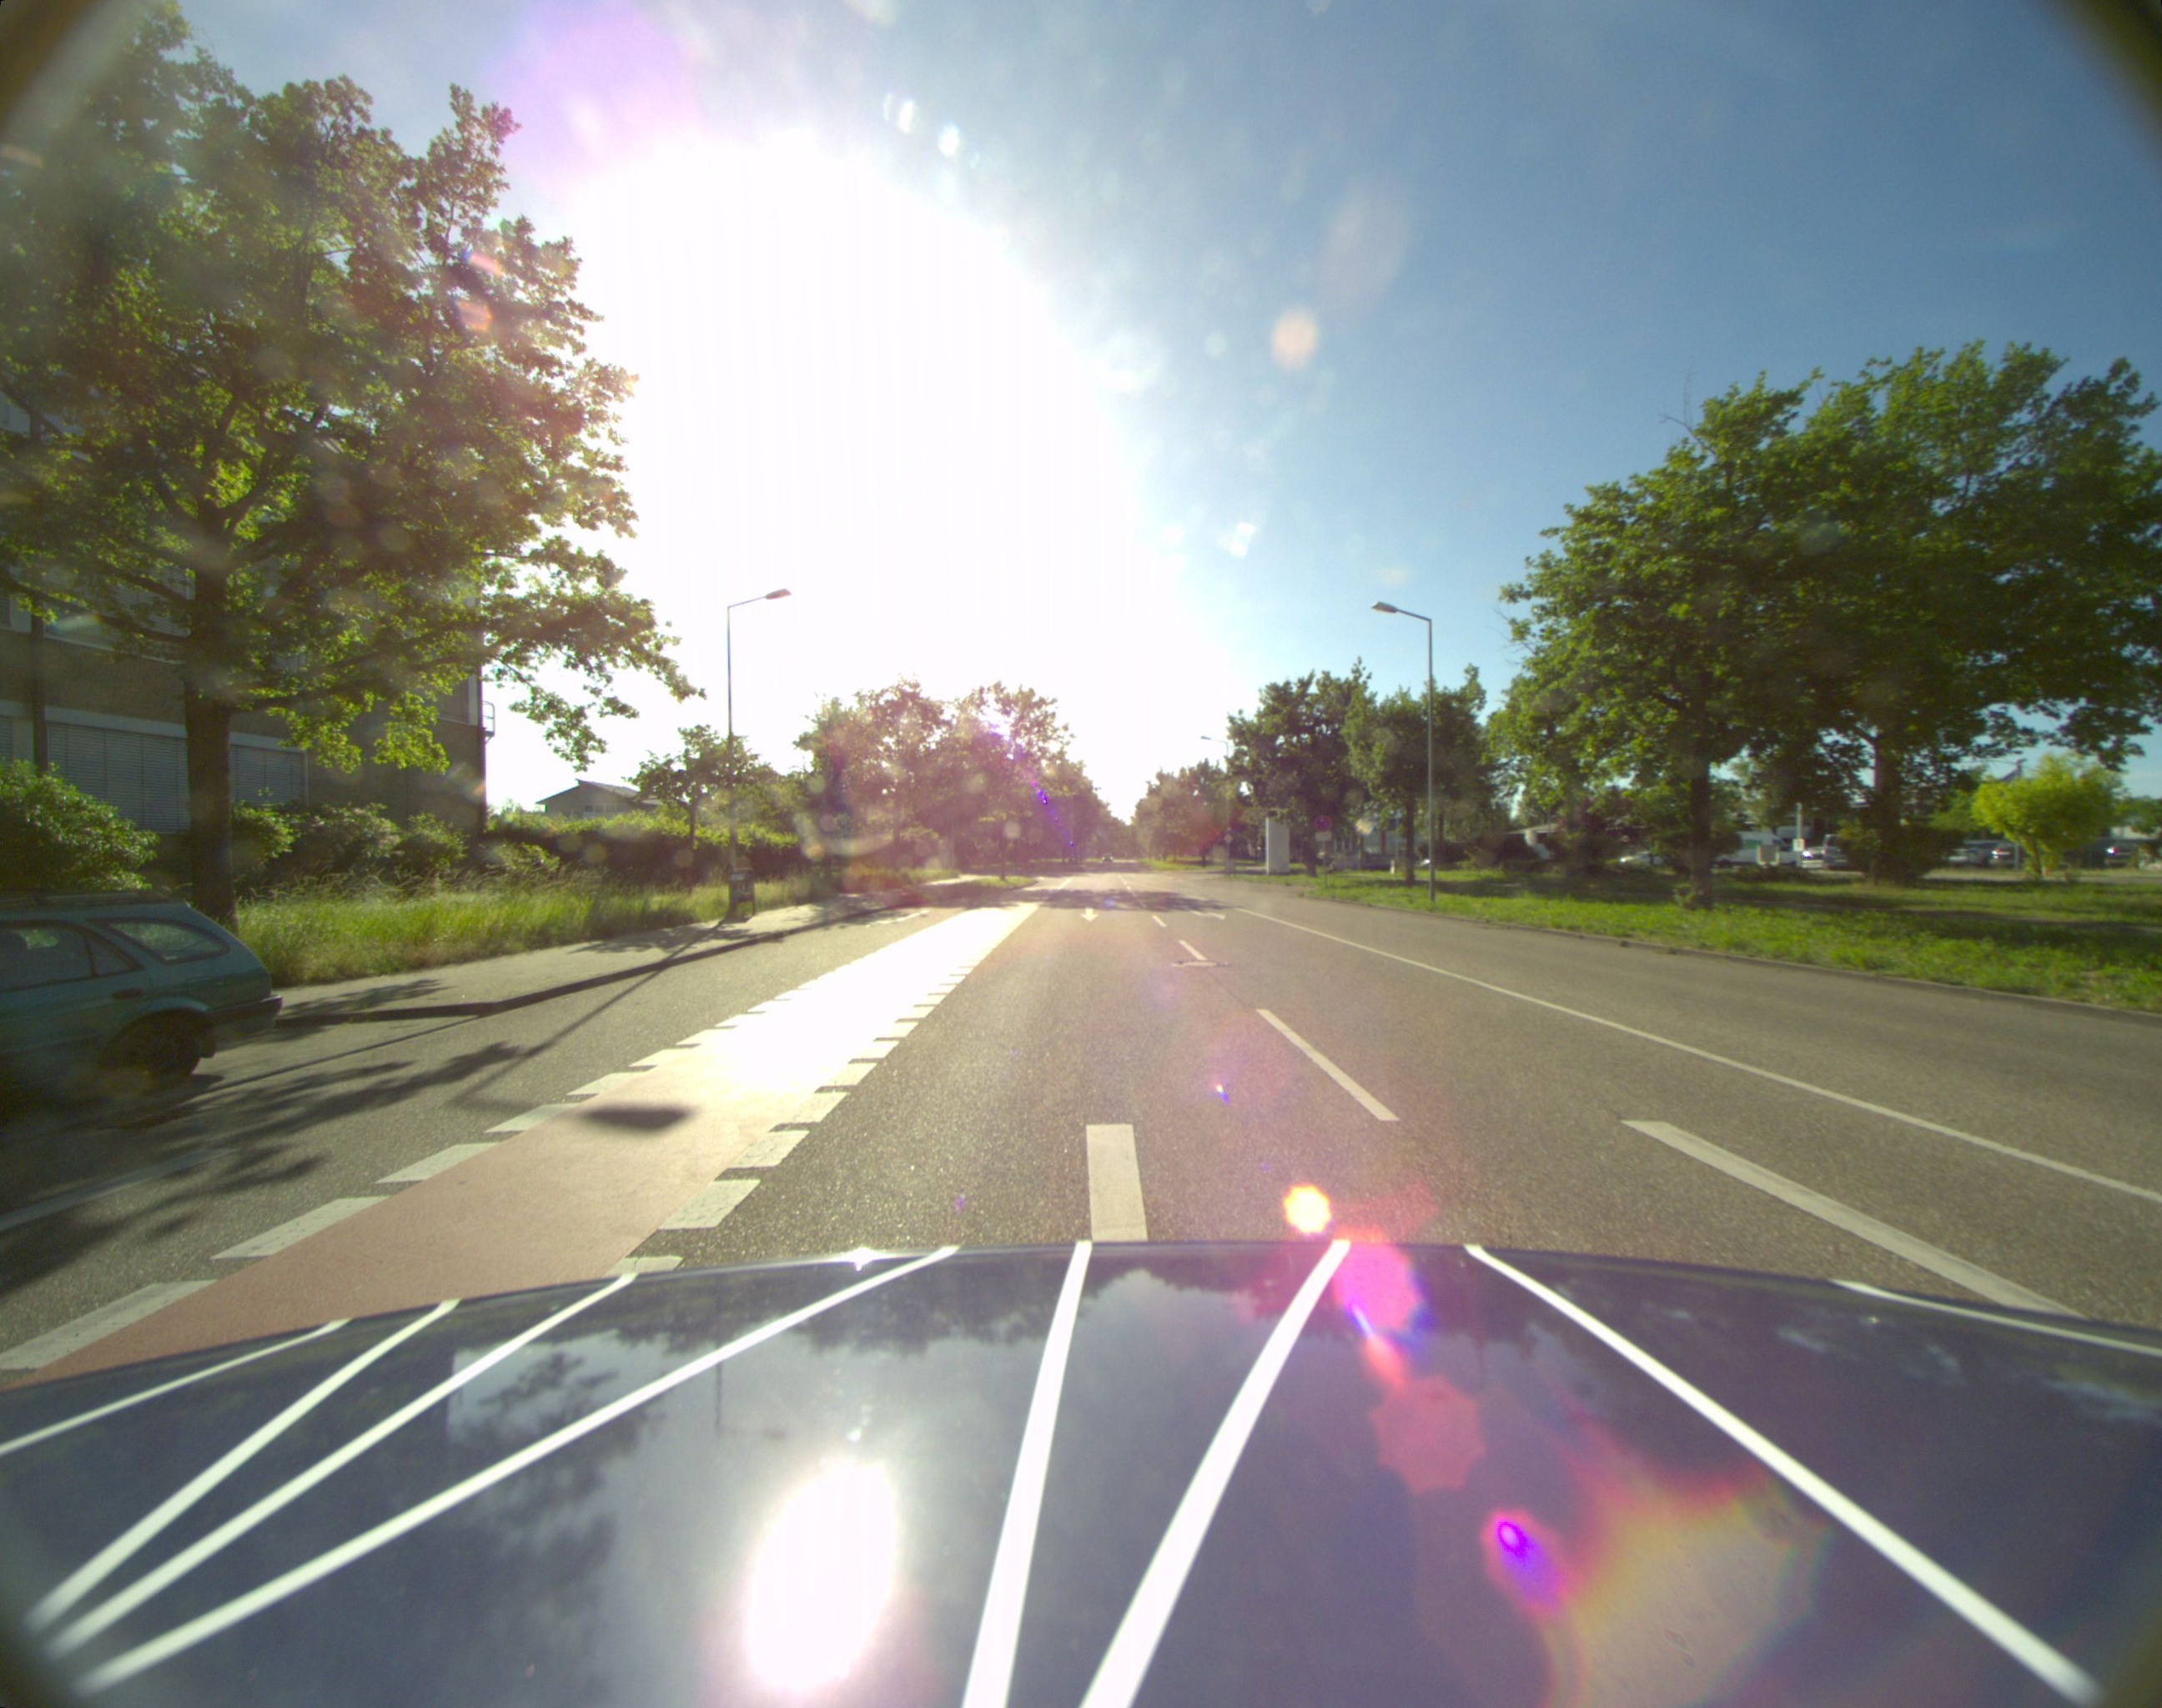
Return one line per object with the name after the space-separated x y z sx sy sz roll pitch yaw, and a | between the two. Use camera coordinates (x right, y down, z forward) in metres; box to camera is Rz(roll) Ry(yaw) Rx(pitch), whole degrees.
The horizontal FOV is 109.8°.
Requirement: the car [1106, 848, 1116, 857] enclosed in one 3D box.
4.963 -0.226 126.734 1.653 1.460 3.941 -1 0 2 | car

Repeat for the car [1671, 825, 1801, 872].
39.899 -0.335 46.390 6.023 2.540 2.409 -2 1 -4 | car

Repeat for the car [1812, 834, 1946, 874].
40.060 -0.001 38.213 4.642 1.771 1.990 -2 1 0 | car

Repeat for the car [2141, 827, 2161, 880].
33.887 -0.082 22.032 3.817 1.562 1.736 -2 -1 0 | car

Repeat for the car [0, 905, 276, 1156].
-7.526 1.134 4.212 1.706 1.460 4.141 -1 -1 0 | car

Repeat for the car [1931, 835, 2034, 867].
52.088 -0.203 43.952 3.860 1.661 1.762 -2 1 0 | car

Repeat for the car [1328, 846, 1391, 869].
23.928 0.300 65.363 4.637 1.822 2.000 -2 1 0 | car
